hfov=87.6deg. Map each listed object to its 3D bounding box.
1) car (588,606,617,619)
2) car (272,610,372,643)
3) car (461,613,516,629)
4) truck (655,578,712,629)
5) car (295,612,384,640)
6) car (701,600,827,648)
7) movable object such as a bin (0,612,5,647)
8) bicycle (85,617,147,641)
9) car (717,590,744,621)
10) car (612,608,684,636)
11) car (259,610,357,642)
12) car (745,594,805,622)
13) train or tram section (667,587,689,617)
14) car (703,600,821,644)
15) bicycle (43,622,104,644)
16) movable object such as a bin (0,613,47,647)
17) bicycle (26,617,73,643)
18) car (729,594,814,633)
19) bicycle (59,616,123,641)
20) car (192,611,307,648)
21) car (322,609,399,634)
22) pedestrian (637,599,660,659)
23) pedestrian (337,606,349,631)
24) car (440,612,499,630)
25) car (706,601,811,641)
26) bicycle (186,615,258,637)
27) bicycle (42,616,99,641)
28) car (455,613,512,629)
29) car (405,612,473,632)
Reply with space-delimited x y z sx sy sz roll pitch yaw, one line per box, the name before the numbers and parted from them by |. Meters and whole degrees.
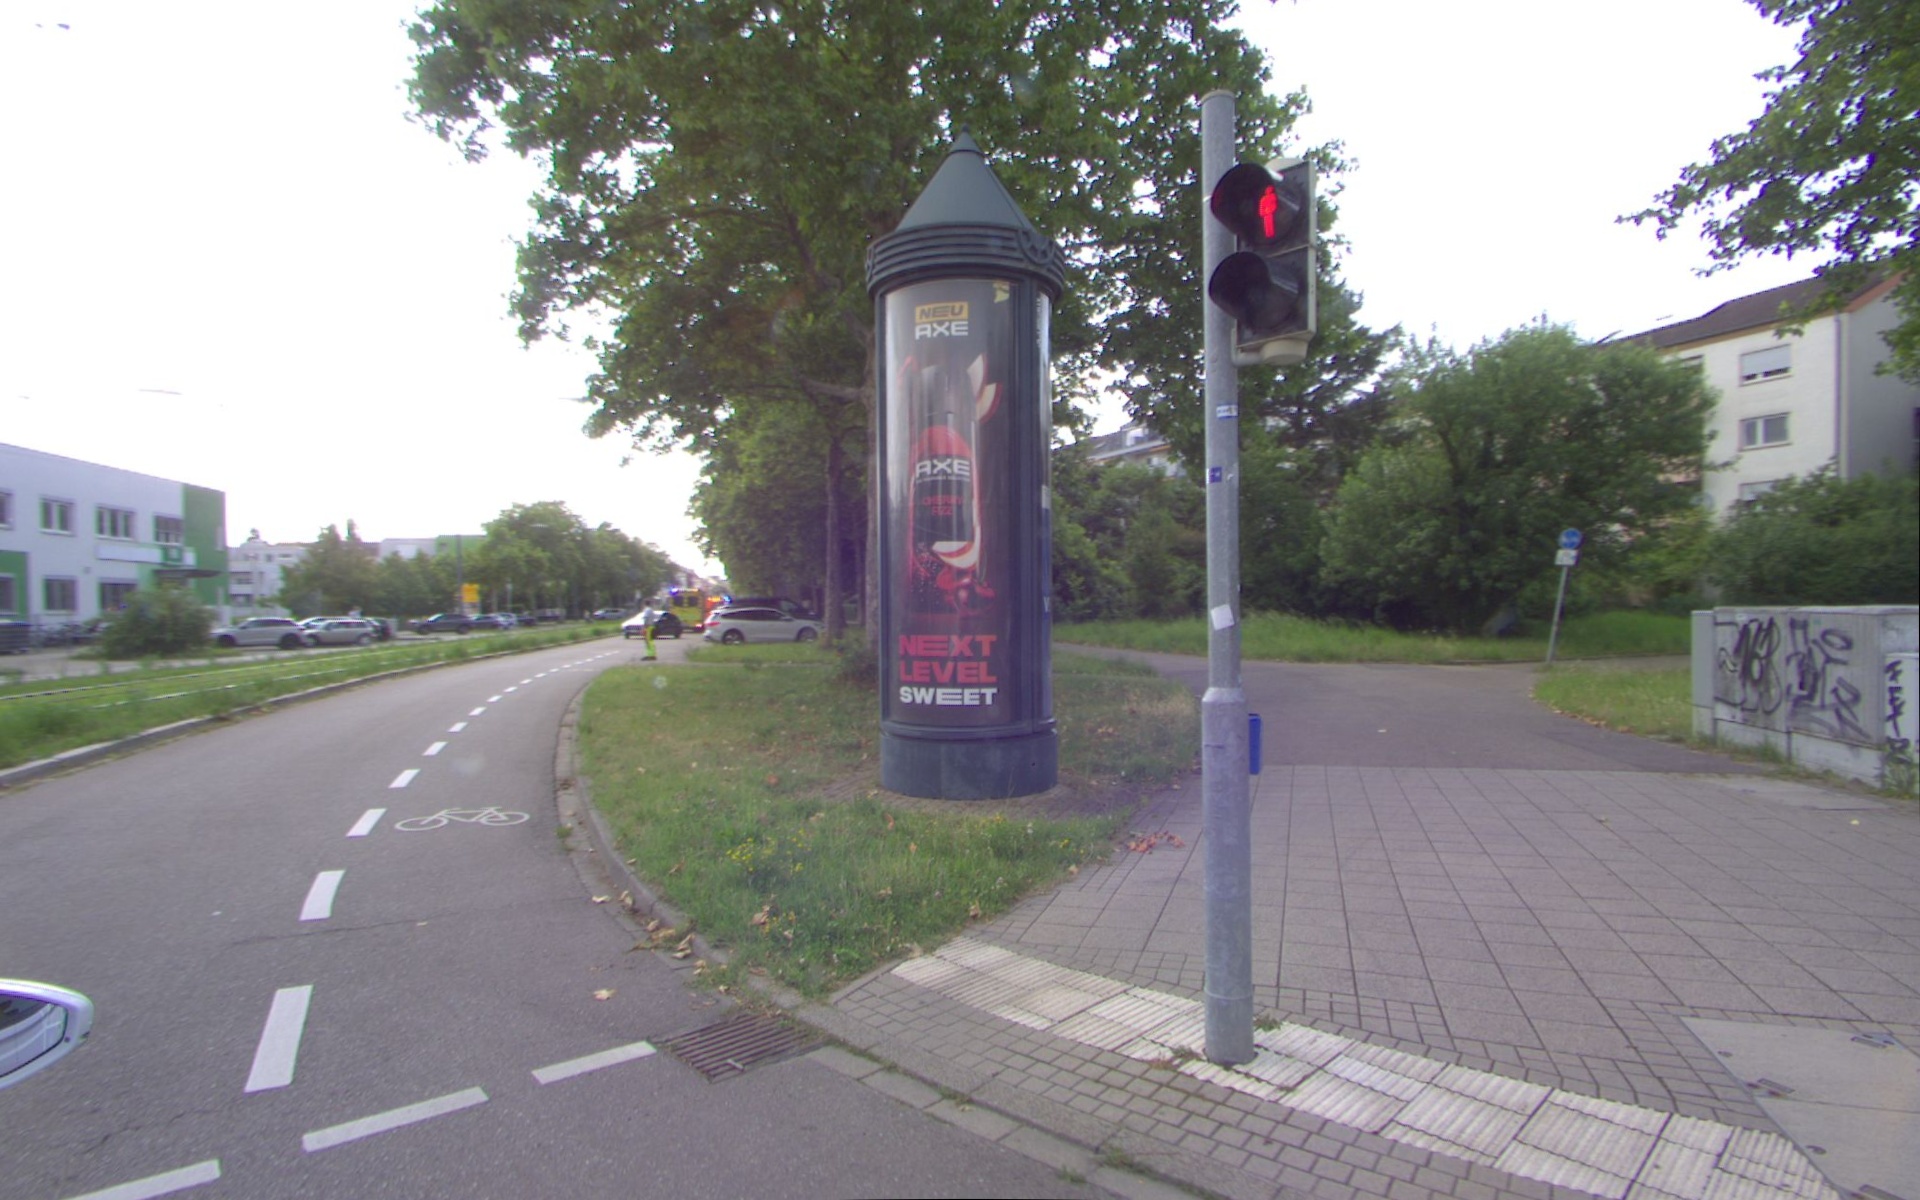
car | -57.342 1.996 160.610 3.961 1.861 1.804 2 -1 -43
car | -33.346 1.376 52.384 4.266 1.650 1.886 0 0 -40
car | -42.469 1.860 90.222 4.258 1.382 1.890 -1 0 -34
truck | -19.353 0.238 70.515 3.134 3.361 7.517 -1 0 -10
car | -35.473 1.454 57.276 4.122 1.523 1.846 0 0 -39
car | -7.288 0.888 37.153 4.460 1.665 1.998 -1 -1 -14
movable object such as a bin | -38.013 1.162 38.157 1.350 1.344 2.116 -1 0 -8
bicycle | -42.256 1.437 50.155 2.371 1.181 0.748 -1 1 -4
car | -26.492 0.666 115.691 2.921 3.373 7.452 1 -1 -13
car | -16.650 1.133 53.644 1.806 1.411 4.604 0 0 10
car | -35.252 1.371 54.159 4.266 1.650 1.886 0 0 -40
car | -23.951 1.096 129.549 7.328 3.373 2.970 1 -1 -17
train or tram section | -35.114 0.288 124.734 2.452 3.644 7.407 -1 0 -17
car | -7.841 0.868 39.676 4.460 1.665 1.998 -1 -1 -14
bicycle | -42.508 1.581 48.013 2.118 0.983 0.730 -1 0 -7
movable object such as a bin | -38.367 1.202 40.317 1.350 1.344 2.130 -1 0 -8
bicycle | -42.284 1.382 46.492 1.589 1.181 0.705 -1 1 5
car | -10.223 0.740 54.432 4.471 2.040 1.999 -1 0 -11
bicycle | -42.460 1.401 48.949 2.306 1.181 0.760 -1 1 -6
car | -34.147 1.364 48.194 4.273 1.651 1.883 -1 0 -45
car | -37.700 1.339 63.016 4.115 1.523 1.849 0 0 -34
pedestrian | -8.990 0.829 28.908 0.576 1.706 0.494 0 0 -13
pedestrian | -43.033 1.269 69.796 0.587 1.697 0.540 -1 1 -20
car | -41.340 1.759 84.426 4.258 1.382 1.890 -1 0 -34
car | -8.998 0.935 44.723 4.460 1.665 1.998 -1 -1 -14
bicycle | -42.145 1.496 57.255 3.087 1.181 1.140 -1 0 -16
bicycle | -40.688 1.304 45.827 1.764 1.096 0.735 -1 1 -14
car | -41.753 1.820 87.729 4.258 1.382 1.890 -1 0 -34
car | -38.717 1.591 74.473 4.260 1.382 1.889 -1 0 -35
